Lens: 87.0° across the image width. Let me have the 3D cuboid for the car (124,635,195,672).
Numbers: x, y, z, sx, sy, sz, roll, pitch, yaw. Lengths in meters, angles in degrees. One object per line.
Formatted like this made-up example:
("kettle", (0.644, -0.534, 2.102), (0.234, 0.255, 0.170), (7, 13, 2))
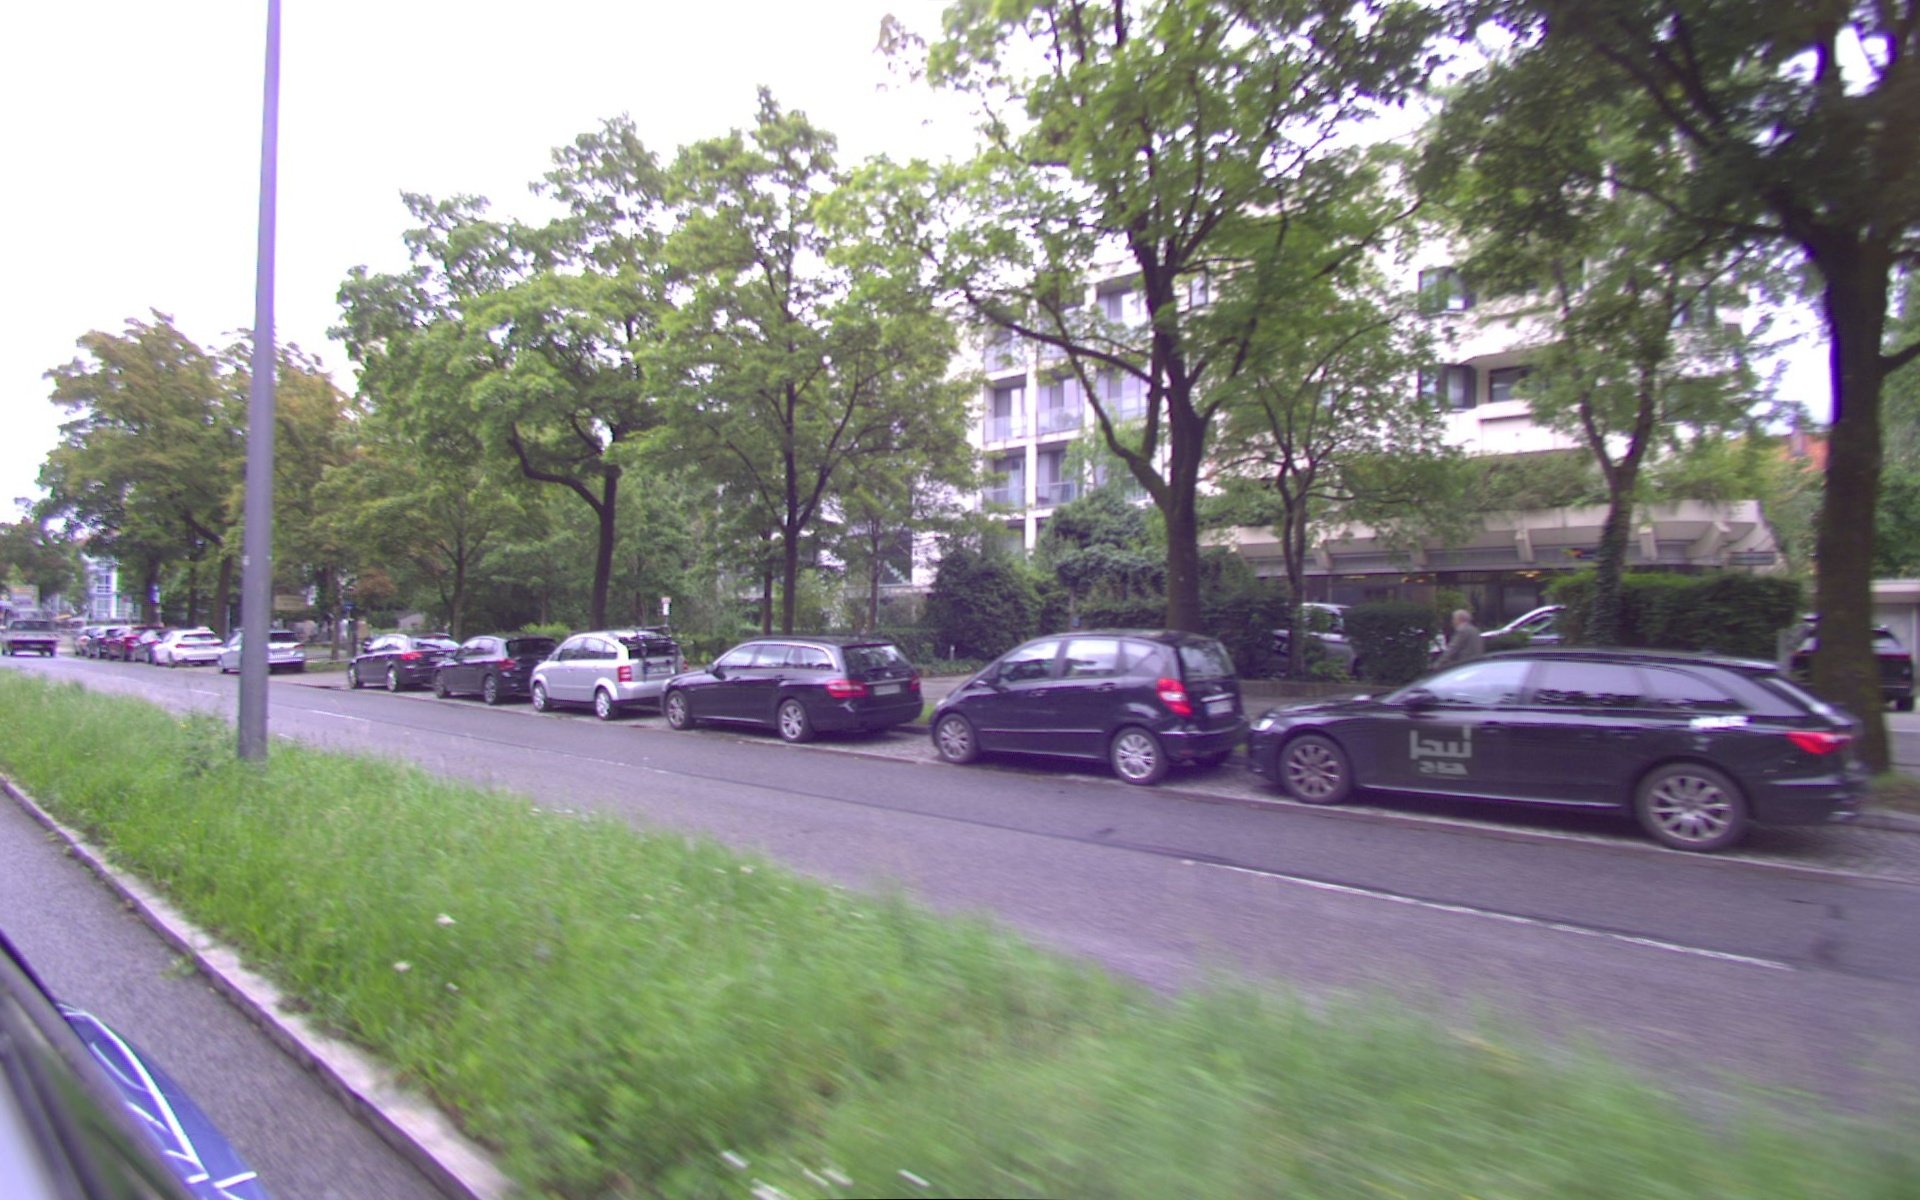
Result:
("car", (-35.054, 2.295, 44.275), (4.332, 1.494, 1.721), (-2, -1, 42))

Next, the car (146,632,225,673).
("car", (-31.394, 2.085, 40.970), (4.473, 1.541, 1.720), (-2, -1, 42))

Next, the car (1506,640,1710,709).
("car", (12.492, 1.389, 19.593), (3.126, 1.209, 1.440), (-2, -3, 42))

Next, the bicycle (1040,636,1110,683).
("bicycle", (3.039, 1.570, 26.882), (1.837, 1.236, 0.531), (0, -2, 5))

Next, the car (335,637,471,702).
("car", (-14.128, 1.683, 25.588), (4.360, 1.434, 1.564), (-2, 0, 41))

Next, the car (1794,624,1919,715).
("car", (15.889, 1.157, 17.775), (1.861, 1.429, 3.937), (-2, -3, 39))

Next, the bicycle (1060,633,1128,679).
("bicycle", (3.712, 1.540, 28.018), (1.840, 1.236, 0.530), (0, -2, 8))

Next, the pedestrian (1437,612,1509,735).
("pedestrian", (7.220, 1.017, 14.251), (0.838, 1.669, 0.609), (2, -3, -41))

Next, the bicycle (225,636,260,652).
("bicycle", (-45.742, 2.827, 64.513), (0.436, 1.014, 1.744), (-2, -3, 40))

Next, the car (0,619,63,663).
("car", (-49.860, 2.188, 53.964), (5.796, 2.211, 2.186), (-2, -4, 41))

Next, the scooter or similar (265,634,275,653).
("scooter or similar", (-41.283, 2.609, 60.535), (0.429, 1.135, 1.292), (2, -3, -36))

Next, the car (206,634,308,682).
("car", (-24.062, 1.936, 34.586), (4.819, 1.459, 1.718), (-2, 0, 41))

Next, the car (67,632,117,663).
("car", (-47.337, 2.575, 55.181), (3.818, 1.626, 1.629), (-2, -2, 43))

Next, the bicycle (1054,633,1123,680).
("bicycle", (3.493, 1.525, 27.455), (1.840, 1.236, 0.530), (0, -2, 8))

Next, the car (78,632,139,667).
("car", (-43.317, 2.475, 51.457), (4.682, 1.656, 1.720), (-2, -2, 42))

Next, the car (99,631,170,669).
("car", (-38.894, 2.322, 47.647), (4.602, 1.664, 1.721), (-2, -1, 40))

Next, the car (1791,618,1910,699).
("car", (19.379, 1.225, 22.103), (1.787, 1.603, 3.935), (-2, -3, 41))

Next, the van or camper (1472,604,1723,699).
("van or camper", (13.946, 1.094, 22.306), (4.429, 1.885, 1.837), (-2, -3, 42))

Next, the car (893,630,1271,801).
("car", (1.291, 1.188, 11.904), (4.209, 1.609, 1.668), (-2, -1, 42))

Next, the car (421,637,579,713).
("car", (-10.097, 1.556, 22.074), (4.191, 1.434, 1.608), (-2, 0, 42))

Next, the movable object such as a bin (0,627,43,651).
("movable object such as a bin", (-79.477, 3.296, 85.473), (3.991, 1.968, 2.174), (-1, -3, 35))

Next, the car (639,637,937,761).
("car", (-2.793, 1.384, 15.575), (5.031, 1.536, 1.698), (-2, 0, 41))

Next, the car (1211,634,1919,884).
("car", (4.846, 1.093, 8.753), (4.946, 1.525, 1.741), (-2, -1, 42))

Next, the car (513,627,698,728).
("car", (-6.751, 1.371, 19.111), (3.866, 1.660, 1.608), (-2, 0, 42))

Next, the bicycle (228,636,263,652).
("bicycle", (-45.292, 2.796, 64.127), (0.436, 1.014, 1.744), (-2, -3, 40))

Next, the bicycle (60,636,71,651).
("bicycle", (-66.585, 3.215, 75.362), (1.954, 1.086, 0.403), (-2, 1, 44))
